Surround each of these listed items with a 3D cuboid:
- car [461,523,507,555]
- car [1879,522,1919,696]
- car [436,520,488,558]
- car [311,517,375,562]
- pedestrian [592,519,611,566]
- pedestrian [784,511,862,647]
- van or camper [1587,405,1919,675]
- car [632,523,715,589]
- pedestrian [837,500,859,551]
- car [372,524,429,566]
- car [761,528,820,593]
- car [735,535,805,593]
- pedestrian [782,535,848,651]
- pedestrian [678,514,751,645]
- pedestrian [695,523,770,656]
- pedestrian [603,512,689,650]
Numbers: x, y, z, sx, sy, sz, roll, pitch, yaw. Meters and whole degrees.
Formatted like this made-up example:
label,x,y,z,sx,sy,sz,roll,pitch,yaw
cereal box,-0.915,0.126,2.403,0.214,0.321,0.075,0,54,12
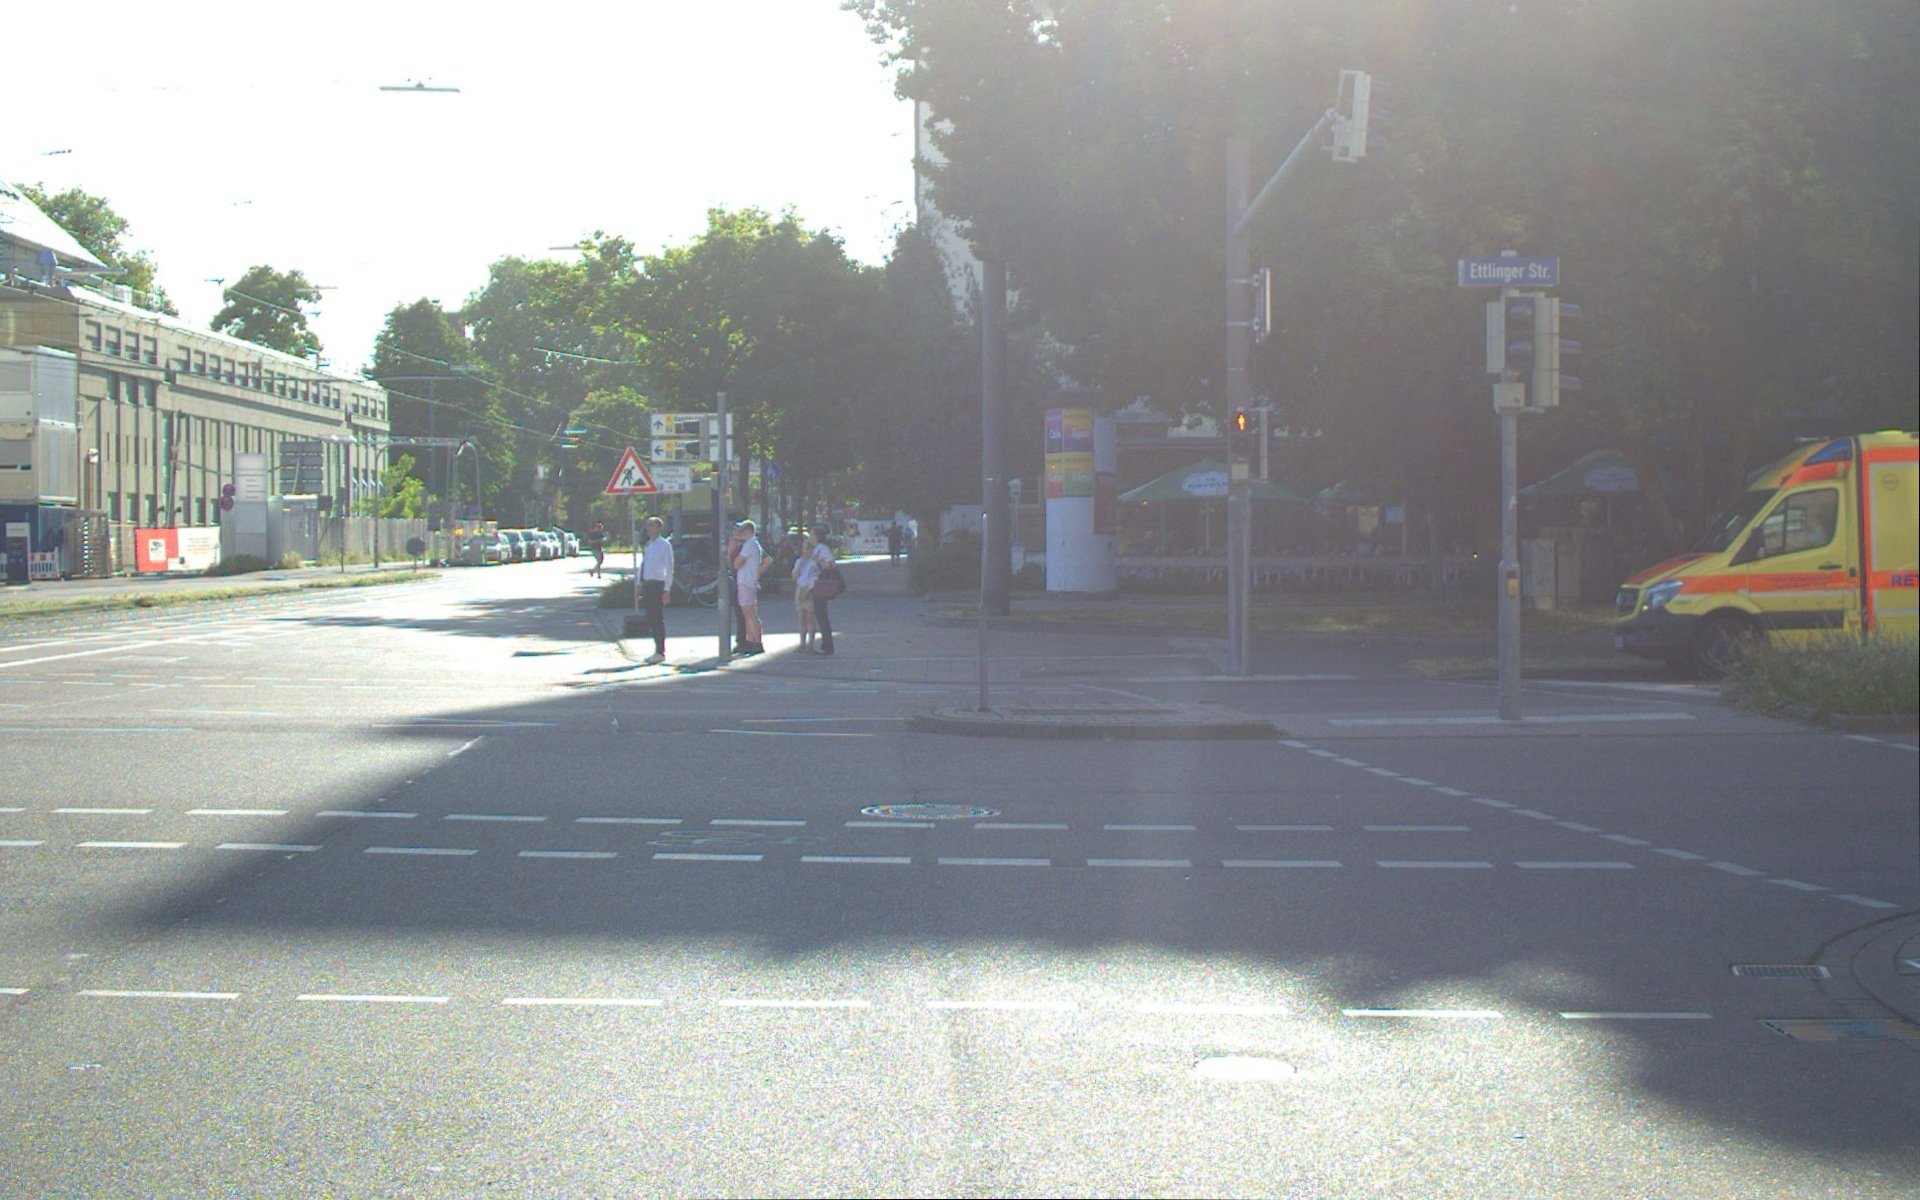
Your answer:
label,x,y,z,sx,sy,sz,roll,pitch,yaw
car,-22.124,-2.834,159.906,1.609,1.493,3.806,0,1,-1
car,11.235,0.136,32.948,4.314,1.641,1.888,1,0,0
car,-22.580,-2.762,155.920,1.819,1.706,3.806,0,1,-1
car,-23.933,-2.349,133.453,1.819,1.706,3.806,0,1,-1
pedestrian,-11.397,-1.817,109.272,0.524,1.479,0.437,1,0,-2
pedestrian,-1.827,-0.286,45.795,0.847,1.778,0.780,-1,1,-17
van or camper,10.637,-0.615,38.685,6.709,2.852,2.910,1,0,4
car,-6.804,-1.031,81.848,1.684,1.495,3.509,1,0,-1
pedestrian,-8.003,-5.323,245.759,1.401,3.584,1.568,1,0,-1
car,-23.476,-2.313,144.322,1.819,1.706,3.806,0,1,-1
car,-5.291,-1.221,107.619,1.684,1.955,3.509,1,0,-1
car,-5.070,-0.952,92.008,1.684,1.495,3.509,1,0,-1
pedestrian,-1.963,-0.094,46.561,0.762,1.553,0.588,-1,1,-17
pedestrian,-3.384,-0.289,47.380,0.847,1.778,0.780,-1,1,-17
pedestrian,-3.089,-0.146,46.594,0.847,1.778,0.780,-1,1,-17
pedestrian,-4.098,-0.259,44.867,0.965,1.778,0.780,-1,1,-17
